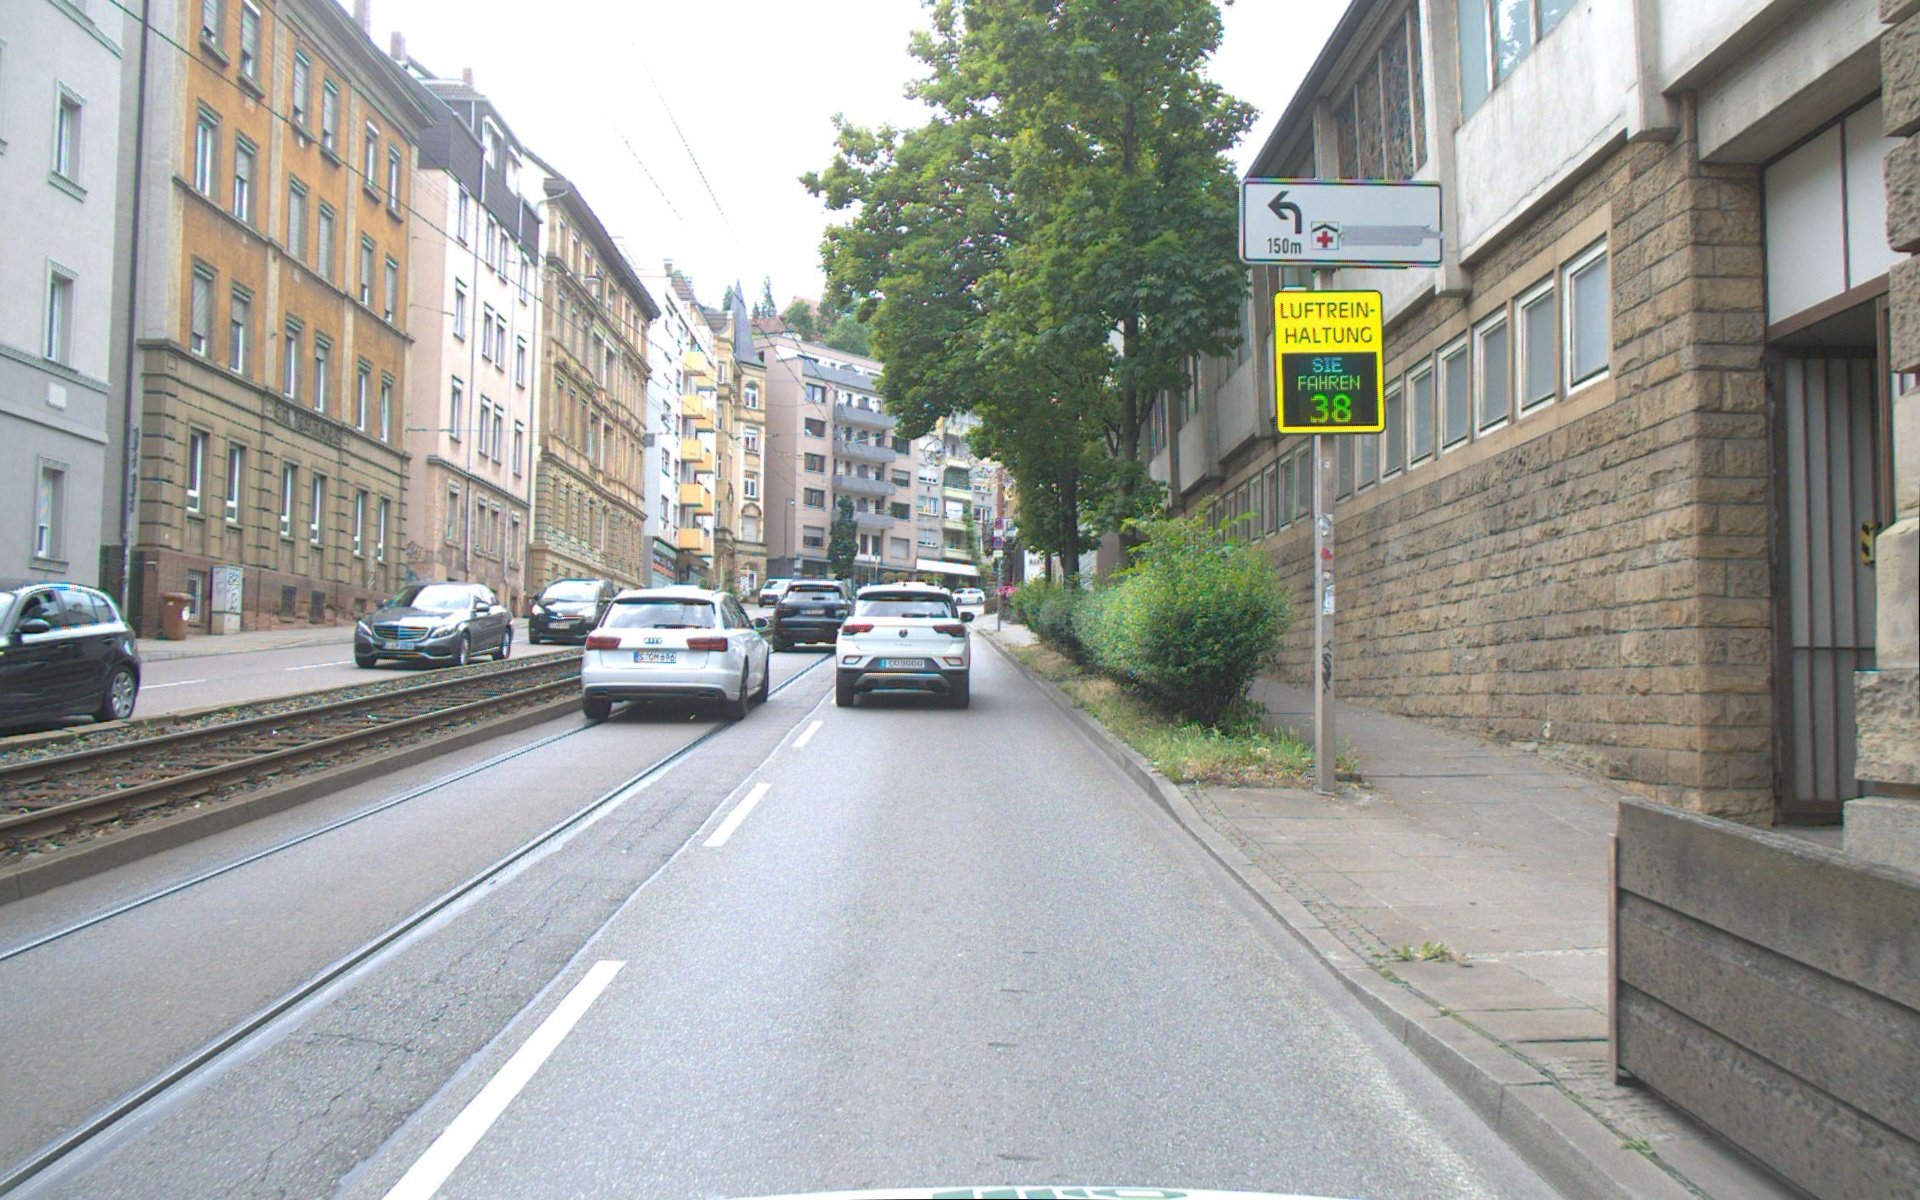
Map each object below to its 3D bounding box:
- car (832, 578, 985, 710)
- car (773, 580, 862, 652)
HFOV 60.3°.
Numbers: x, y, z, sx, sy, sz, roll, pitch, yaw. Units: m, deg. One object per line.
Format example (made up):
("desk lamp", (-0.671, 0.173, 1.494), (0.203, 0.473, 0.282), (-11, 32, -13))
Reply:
("car", (-0.751, 0.523, 22.143), (1.842, 1.582, 3.997), (1, 0, -4))
("car", (-3.374, 0.335, 39.537), (1.998, 1.599, 4.354), (0, 1, -4))
